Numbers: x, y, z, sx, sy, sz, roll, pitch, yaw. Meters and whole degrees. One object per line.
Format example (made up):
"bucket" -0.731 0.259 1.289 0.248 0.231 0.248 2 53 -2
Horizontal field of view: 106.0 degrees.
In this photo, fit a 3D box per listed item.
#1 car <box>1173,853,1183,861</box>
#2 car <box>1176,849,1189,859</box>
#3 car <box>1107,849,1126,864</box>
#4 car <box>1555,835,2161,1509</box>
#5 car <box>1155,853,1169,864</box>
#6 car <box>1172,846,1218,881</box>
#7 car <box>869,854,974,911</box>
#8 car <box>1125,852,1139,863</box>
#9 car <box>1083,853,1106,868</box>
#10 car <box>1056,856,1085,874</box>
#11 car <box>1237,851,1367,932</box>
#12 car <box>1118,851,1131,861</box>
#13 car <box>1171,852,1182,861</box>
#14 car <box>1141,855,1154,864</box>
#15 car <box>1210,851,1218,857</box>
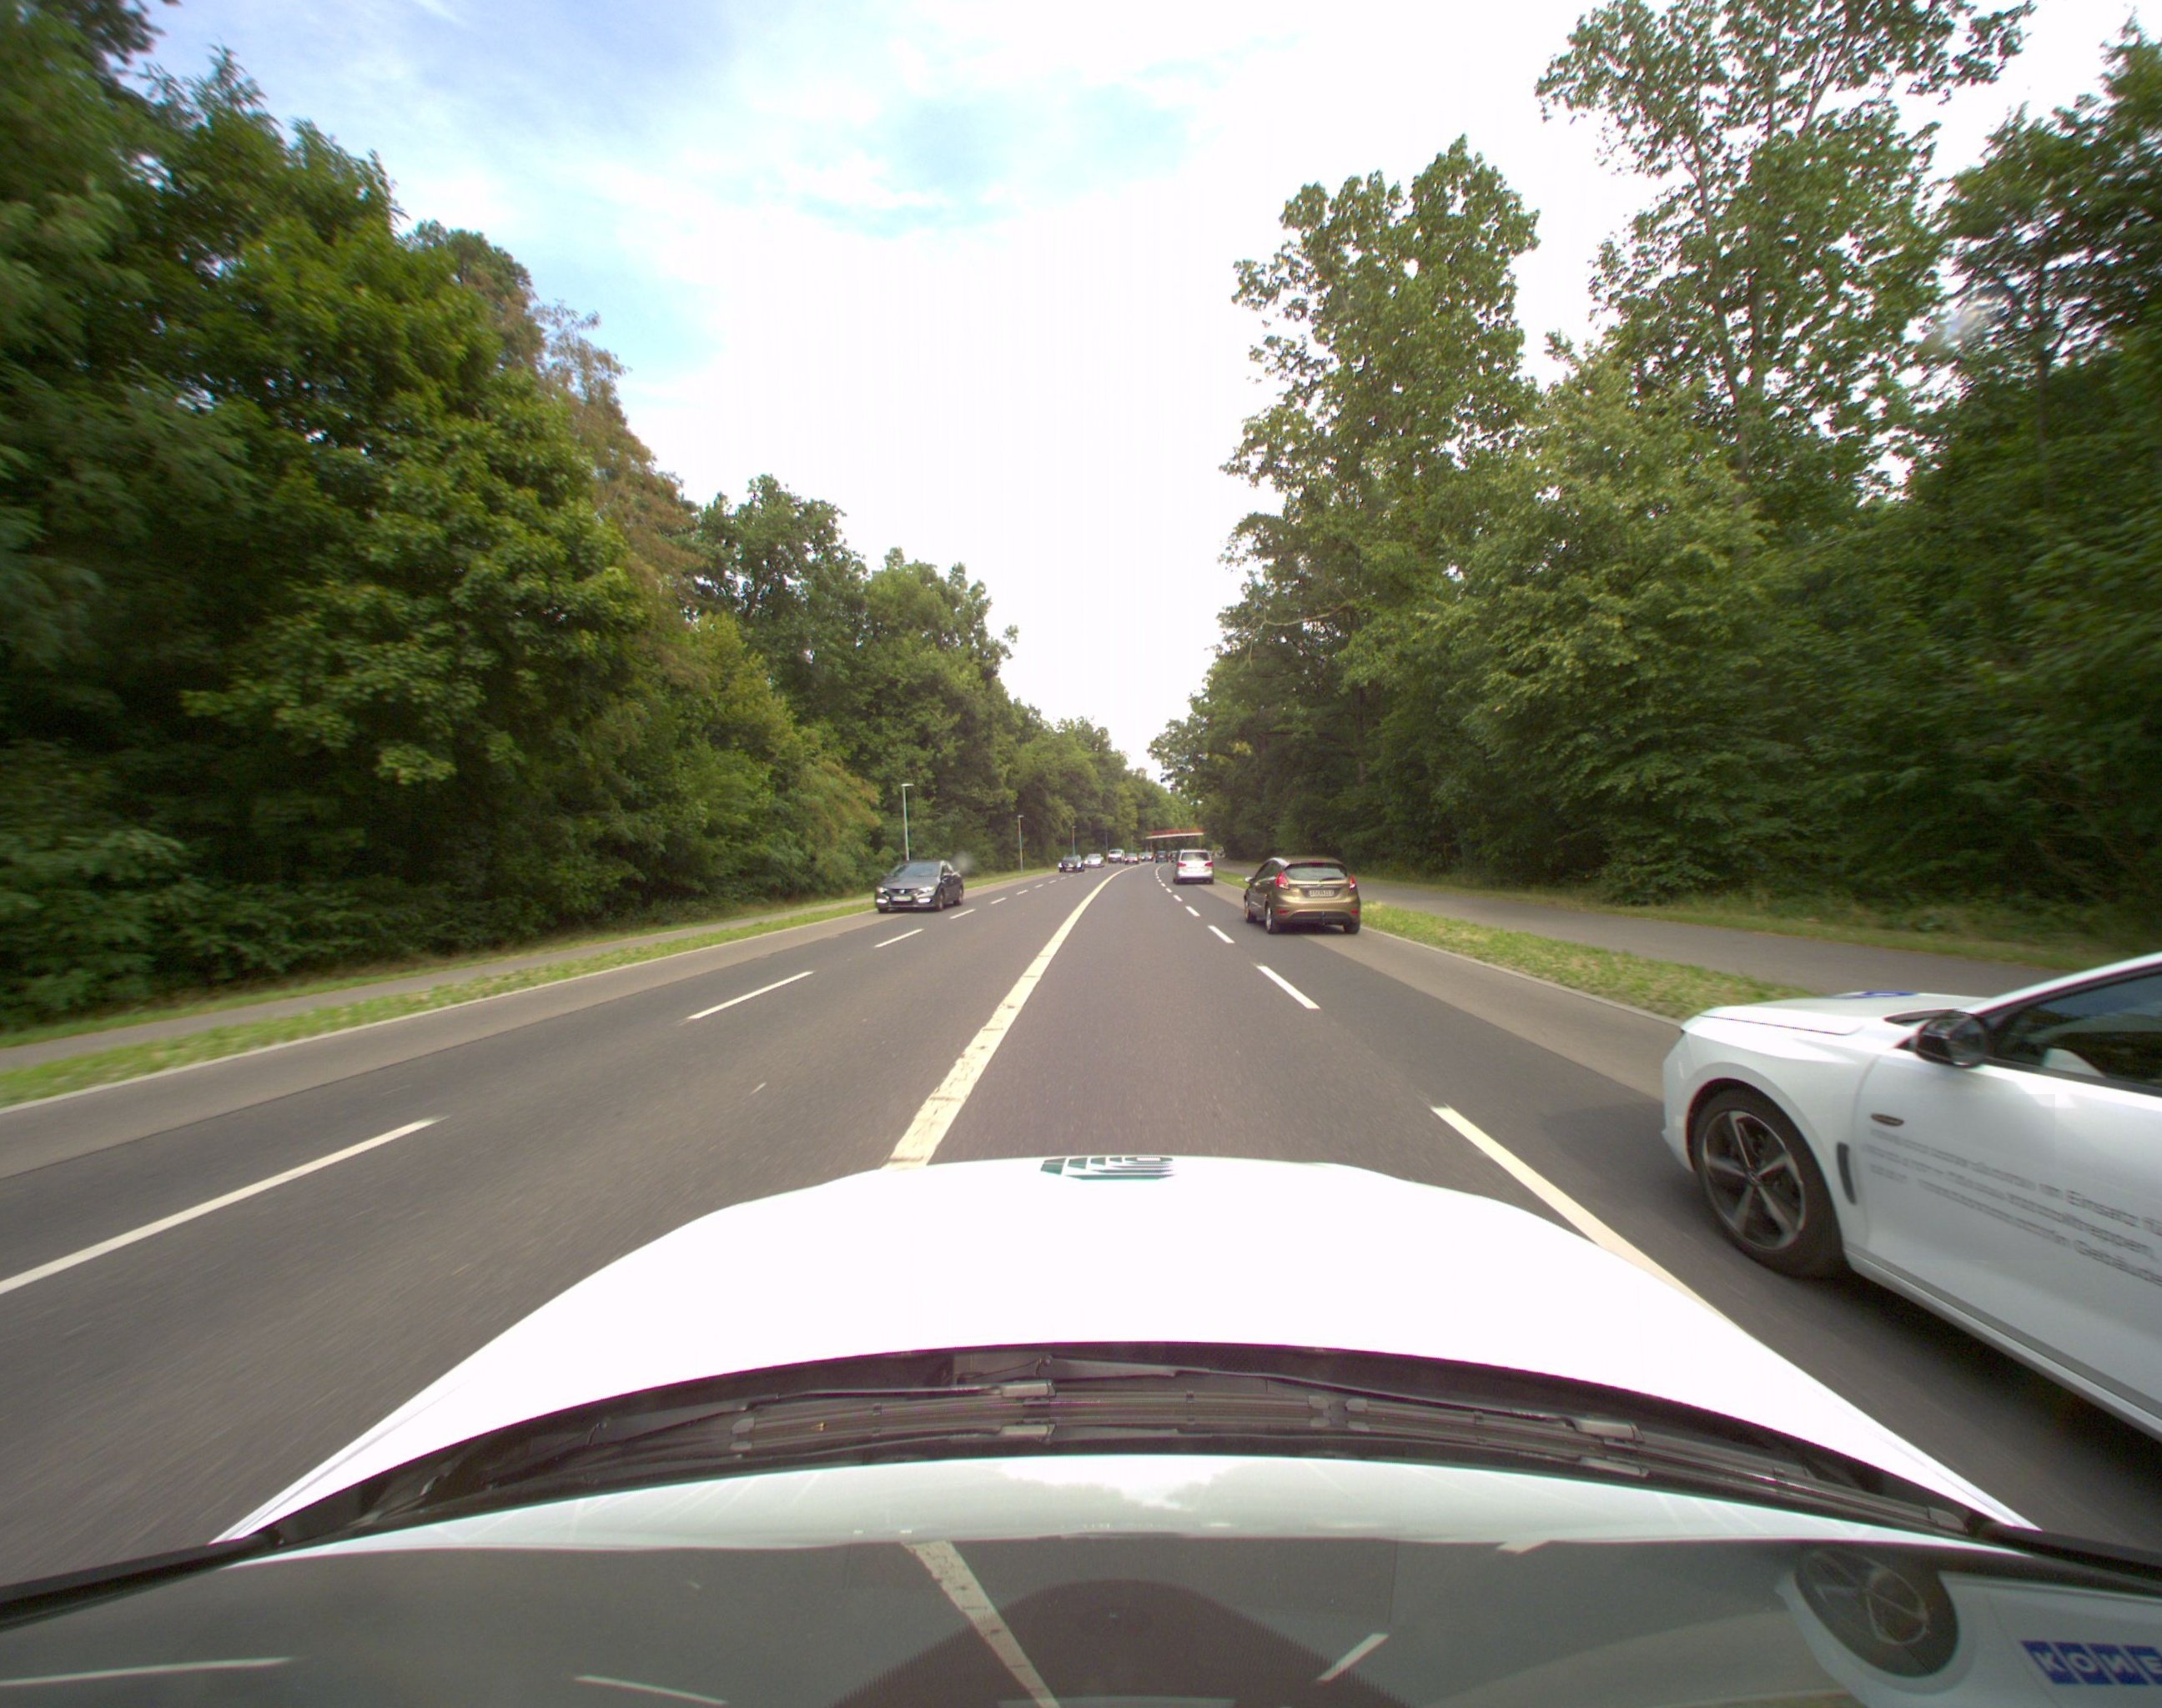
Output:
"car" 20.599 0.716 172.976 1.981 1.697 4.010 0 -1 10
"car" 18.147 0.041 145.912 1.980 1.750 4.012 0 -1 12
"car" 5.188 0.436 118.218 1.982 2.014 5.067 -2 -1 9
"car" 3.250 0.689 1.815 1.830 1.410 4.492 -2 1 1
"car" 11.805 0.643 118.550 1.719 1.587 4.011 0 -1 10
"car" 5.569 0.480 40.308 1.985 1.607 4.004 0 -1 4
"car" -4.549 0.799 23.922 1.888 1.484 4.542 -1 -1 4
"car" 6.670 0.484 106.626 1.647 1.486 3.874 0 -1 7
"car" 1.480 0.734 88.860 1.983 1.563 4.612 0 -1 7
"car" -0.885 0.955 68.792 1.871 1.443 4.411 0 -1 7
"car" 4.304 0.691 16.425 1.629 1.420 4.001 0 -1 1
"car" 7.228 0.297 134.548 1.875 1.558 4.527 -1 -1 7
"car" 18.486 0.465 157.805 1.981 1.697 4.010 0 -1 10
"car" 11.249 0.917 137.282 1.874 1.478 4.529 0 -1 9
"car" 37.586 0.054 230.342 1.980 1.706 4.013 -2 0 11
